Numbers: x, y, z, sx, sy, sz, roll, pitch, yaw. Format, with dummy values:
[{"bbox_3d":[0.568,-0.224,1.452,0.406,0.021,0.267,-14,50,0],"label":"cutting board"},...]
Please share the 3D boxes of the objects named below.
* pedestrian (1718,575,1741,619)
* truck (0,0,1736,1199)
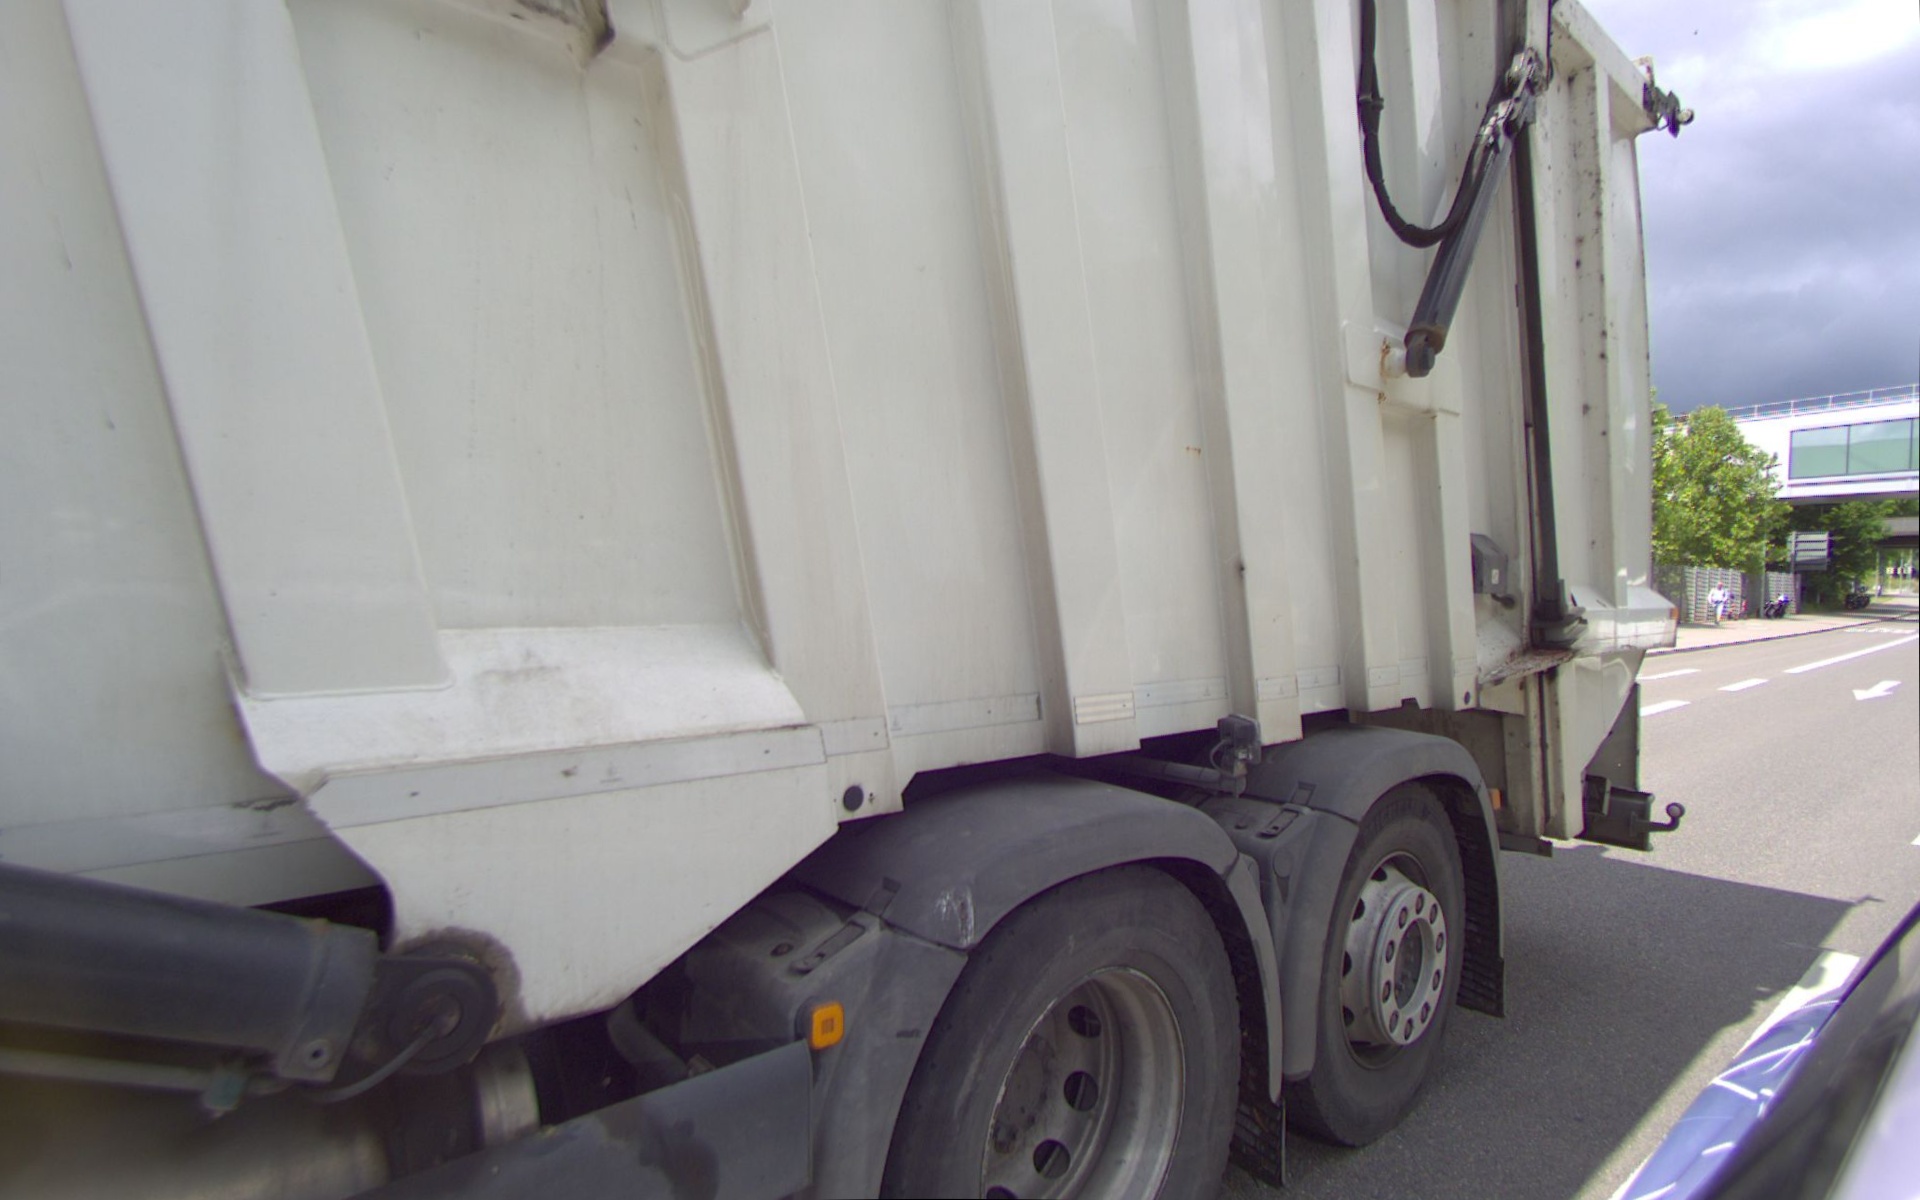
[{"bbox_3d":[34.582,-0.135,45.471,0.647,1.936,0.738,0,0,-43],"label":"pedestrian"},{"bbox_3d":[-0.833,-0.534,2.431,9.999,3.962,2.492,-1,0,-42],"label":"truck"}]
